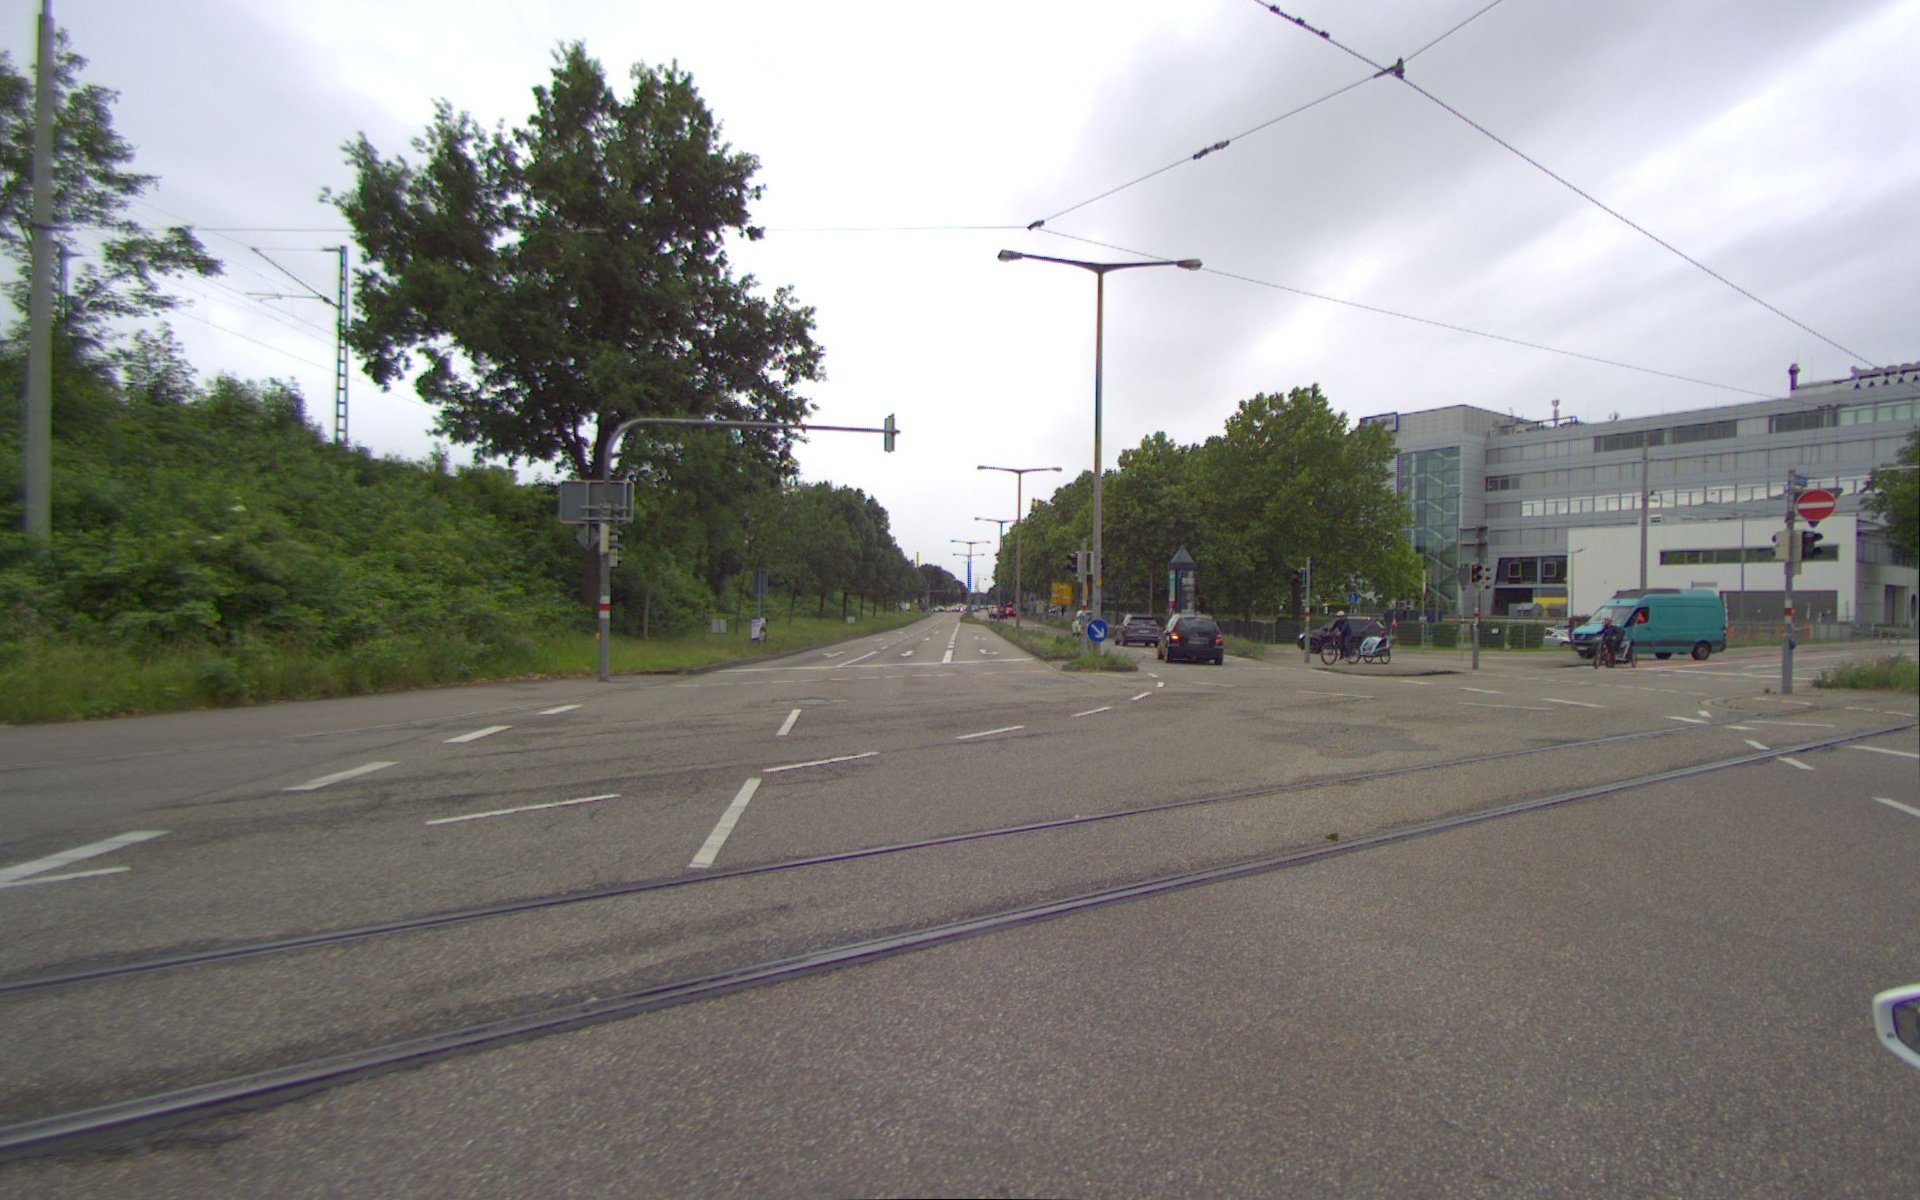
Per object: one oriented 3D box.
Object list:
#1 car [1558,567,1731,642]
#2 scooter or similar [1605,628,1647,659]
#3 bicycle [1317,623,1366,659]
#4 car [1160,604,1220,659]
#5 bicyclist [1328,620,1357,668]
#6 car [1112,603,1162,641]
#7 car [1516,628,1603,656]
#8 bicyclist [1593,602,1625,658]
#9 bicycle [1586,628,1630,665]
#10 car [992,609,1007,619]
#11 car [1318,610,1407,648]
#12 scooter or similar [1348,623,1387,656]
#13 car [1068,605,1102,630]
[{"bbox_3d":[27.426,0.207,40.303,5.844,2.863,2.331,1,0,-12],"label":"car"},{"bbox_3d":[21.881,1.420,32.991,1.188,0.919,0.836,0,2,-41],"label":"scooter or similar"},{"bbox_3d":[12.558,1.326,33.018,1.985,1.076,0.640,0,2,-41],"label":"bicycle"},{"bbox_3d":[7.353,0.961,32.271,1.738,1.548,3.671,1,1,12],"label":"car"},{"bbox_3d":[12.574,1.437,33.037,0.621,1.539,0.640,0,2,-40],"label":"bicyclist"},{"bbox_3d":[8.633,1.057,49.218,1.743,1.675,3.669,1,1,0],"label":"car"},{"bbox_3d":[36.281,2.500,60.869,1.892,1.552,4.187,1,-1,-33],"label":"car"},{"bbox_3d":[20.592,0.937,31.861,0.680,1.706,0.639,0,2,-41],"label":"bicyclist"},{"bbox_3d":[20.567,1.466,31.864,2.008,1.076,0.639,0,2,-42],"label":"bicycle"},{"bbox_3d":[6.171,2.164,157.483,1.930,1.548,5.009,0,0,-2],"label":"car"},{"bbox_3d":[17.510,1.237,43.855,1.745,1.548,3.657,1,-1,-16],"label":"car"},{"bbox_3d":[13.859,1.330,34.138,1.438,1.076,0.640,0,2,-41],"label":"scooter or similar"},{"bbox_3d":[8.698,1.163,70.203,1.929,1.548,5.011,1,1,3],"label":"car"}]
